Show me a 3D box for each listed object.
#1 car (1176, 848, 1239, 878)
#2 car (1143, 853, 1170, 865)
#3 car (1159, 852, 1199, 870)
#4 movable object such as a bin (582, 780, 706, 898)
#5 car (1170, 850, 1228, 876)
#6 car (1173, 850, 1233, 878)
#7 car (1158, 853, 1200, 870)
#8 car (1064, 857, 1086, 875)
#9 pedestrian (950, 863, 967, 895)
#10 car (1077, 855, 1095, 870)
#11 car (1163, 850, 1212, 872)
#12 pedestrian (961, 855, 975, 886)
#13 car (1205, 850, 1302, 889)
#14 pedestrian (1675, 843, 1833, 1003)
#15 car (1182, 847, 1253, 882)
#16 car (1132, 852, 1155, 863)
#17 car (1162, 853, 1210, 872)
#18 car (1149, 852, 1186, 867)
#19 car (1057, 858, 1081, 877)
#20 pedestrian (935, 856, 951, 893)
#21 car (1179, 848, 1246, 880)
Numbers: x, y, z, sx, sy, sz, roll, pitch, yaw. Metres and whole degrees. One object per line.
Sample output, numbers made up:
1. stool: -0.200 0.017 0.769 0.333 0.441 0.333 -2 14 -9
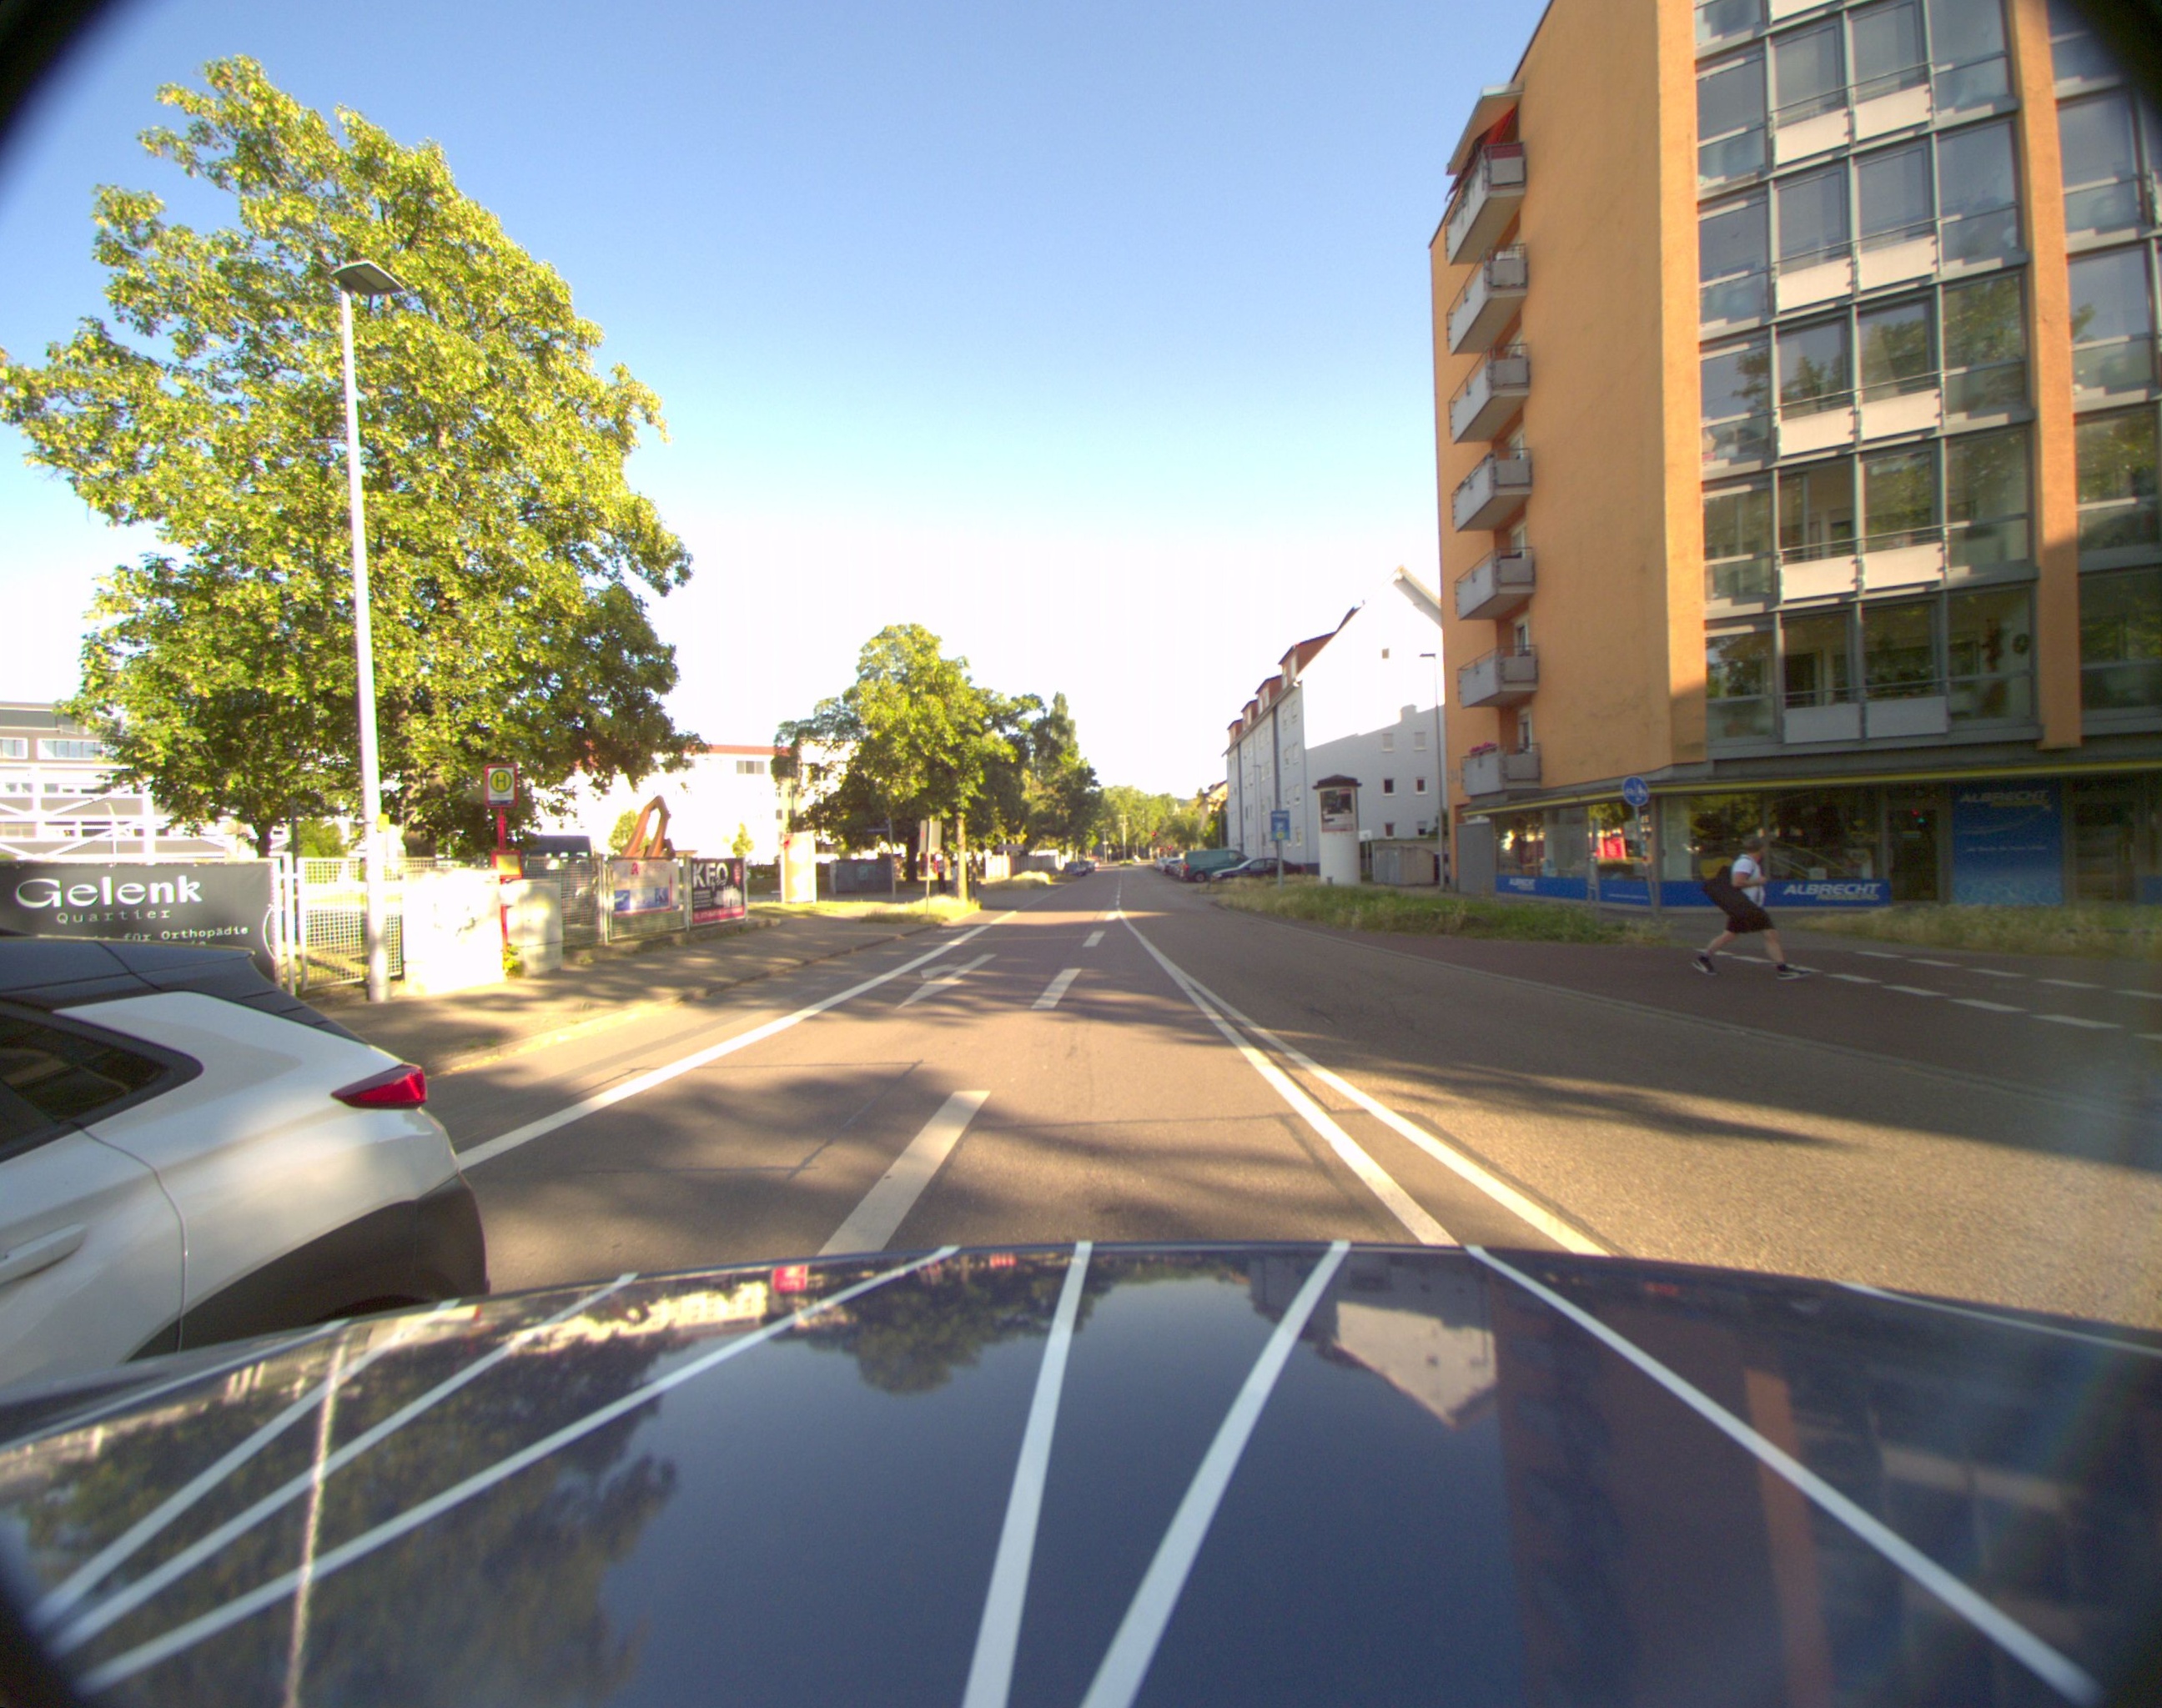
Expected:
1. car: 8.492 0.588 51.339 3.995 1.805 2.000 -2 1 5
2. car: 10.458 0.706 105.238 3.538 1.564 1.867 -2 1 5
3. car: 10.251 0.727 80.063 4.071 1.741 1.899 -2 1 5
4. movable object such as a bin: -22.237 -0.701 38.545 3.986 5.447 6.016 -3 1 -42
5. car: 8.739 0.664 56.433 4.071 1.741 1.899 -2 1 5
6. car: 8.563 0.669 53.689 4.059 1.805 1.937 -2 1 5
7. car: 10.299 0.757 79.927 4.257 1.564 1.867 -2 1 5
8. car: -0.595 1.152 73.939 1.998 1.521 3.999 -2 1 1
9. pedestrian: -5.777 1.180 35.923 0.609 1.426 0.639 -2 1 1
10. car: 0.560 0.952 87.972 1.998 1.521 3.999 -2 1 1
11. car: 9.266 0.610 66.484 4.117 1.762 1.757 -2 1 5
12. pedestrian: -6.112 0.877 41.056 0.696 1.659 0.638 -2 1 -11
13. car: 8.289 0.732 36.870 4.423 1.652 2.001 -2 1 9
14. pedestrian: 7.957 0.762 9.020 0.903 1.727 1.086 -3 1 -21
15. car: 8.186 0.594 45.935 3.996 1.936 2.000 -2 1 4
16. car: 9.694 0.591 118.219 3.538 1.564 1.867 -2 1 5
17. car: 9.560 0.775 69.370 4.257 1.564 1.867 -2 1 5
18. car: 10.215 0.647 90.186 4.257 1.564 1.867 -2 1 5
19. car: -1.098 1.220 69.592 1.998 1.521 3.999 -2 1 1
20. pedestrian: -6.579 0.985 36.167 0.609 1.727 0.638 -2 1 -5
21. car: 8.348 0.624 48.583 3.995 1.805 2.000 -2 1 5
